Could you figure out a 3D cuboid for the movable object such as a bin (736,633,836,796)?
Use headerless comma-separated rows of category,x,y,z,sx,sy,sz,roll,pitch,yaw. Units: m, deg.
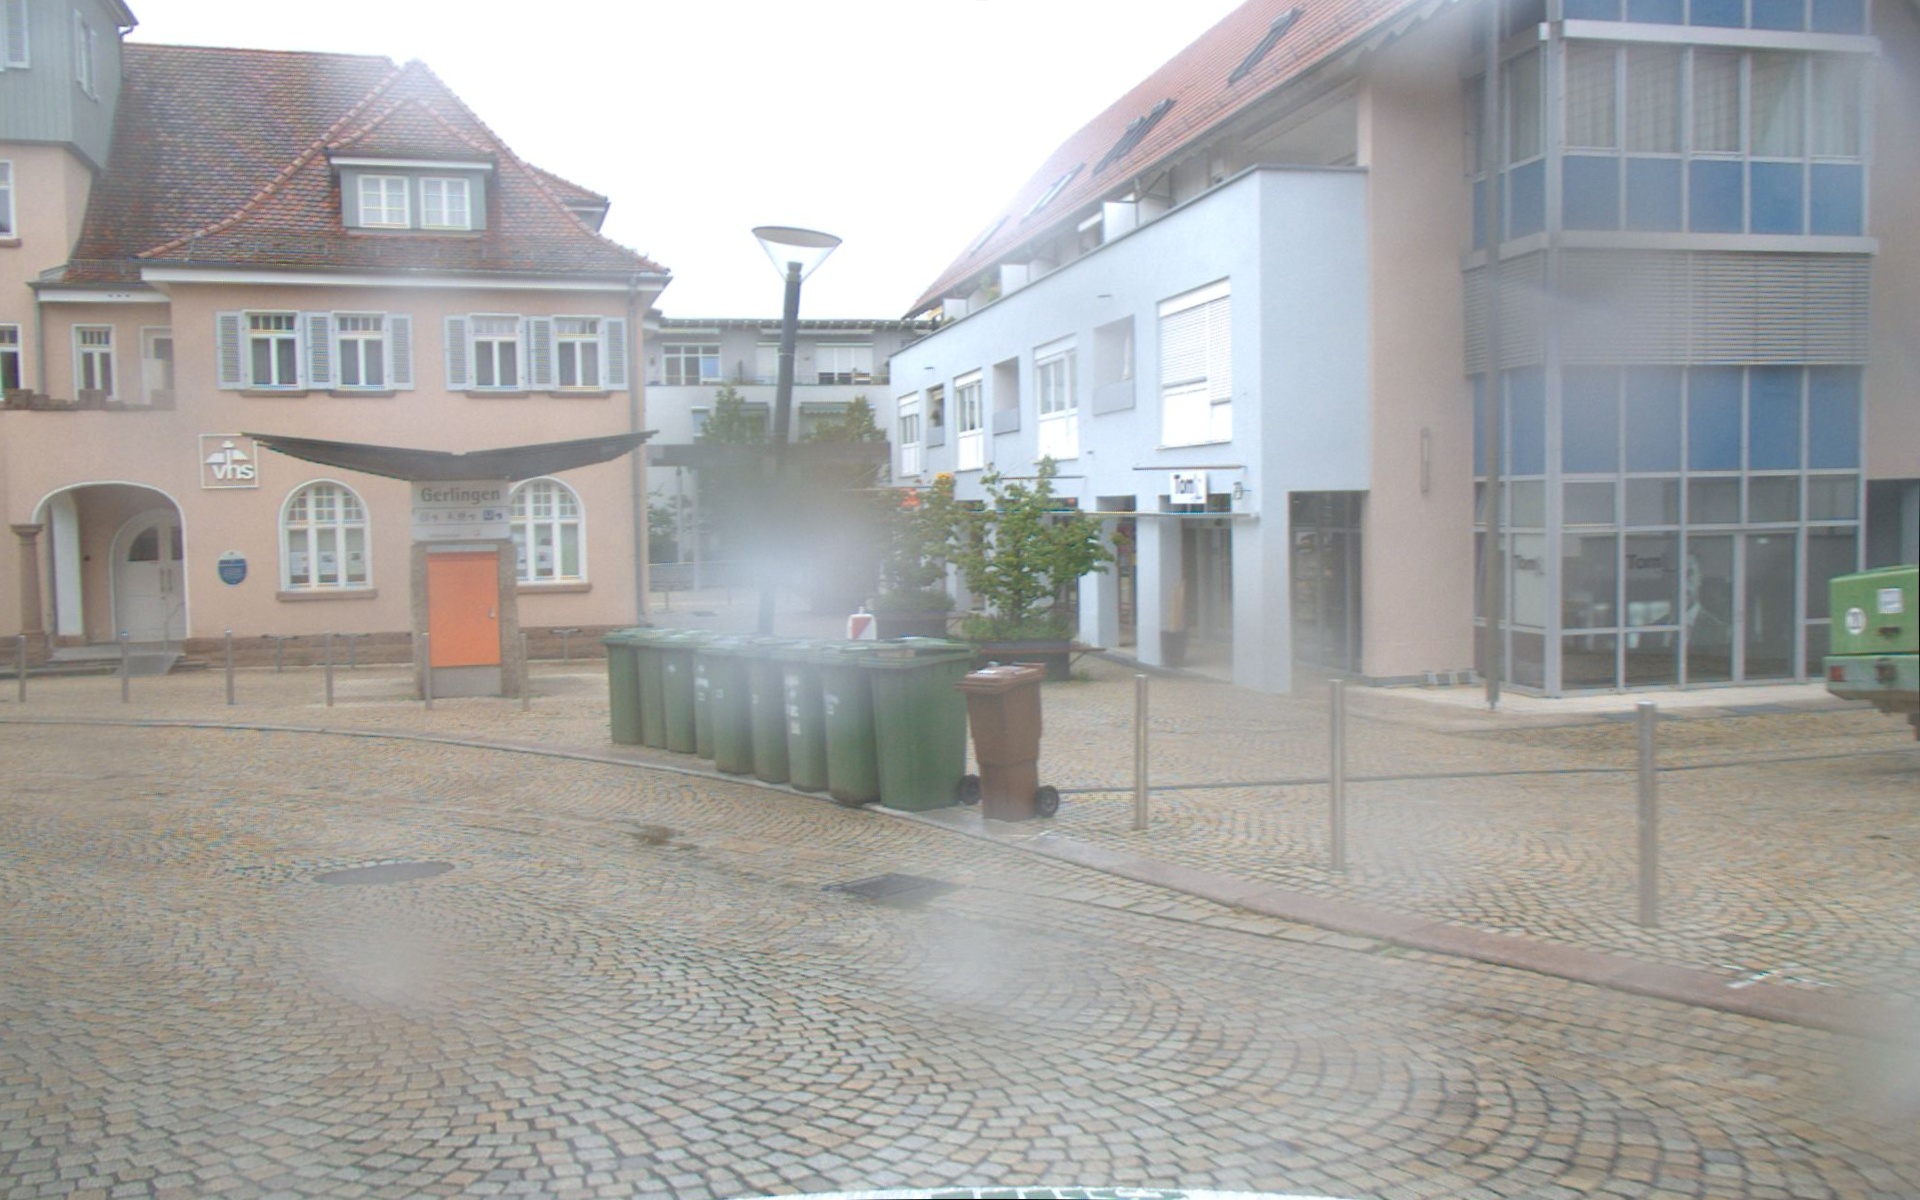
movable object such as a bin,-1.339,0.858,12.695,0.554,1.180,0.545,-2,1,-31

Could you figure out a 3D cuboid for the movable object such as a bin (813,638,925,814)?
movable object such as a bin,-0.639,0.858,11.516,0.554,1.145,0.545,-2,1,-31

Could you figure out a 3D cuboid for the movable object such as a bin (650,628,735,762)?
movable object such as a bin,-2.415,0.845,14.927,0.554,1.145,0.545,-2,1,-31

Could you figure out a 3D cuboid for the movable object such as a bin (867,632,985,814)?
movable object such as a bin,-0.231,0.804,11.073,0.554,1.145,0.545,-2,1,-31

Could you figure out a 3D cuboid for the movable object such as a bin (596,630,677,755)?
movable object such as a bin,-3.111,0.871,15.892,0.534,1.145,0.531,-3,1,-42

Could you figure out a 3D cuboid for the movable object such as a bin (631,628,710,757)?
movable object such as a bin,-2.706,0.850,15.435,0.531,1.145,0.534,-2,1,-31

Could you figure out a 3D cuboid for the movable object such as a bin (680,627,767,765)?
movable object such as a bin,-2.072,0.826,14.476,0.554,1.145,0.545,-2,1,-31

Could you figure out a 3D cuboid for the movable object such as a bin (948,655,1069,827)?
movable object such as a bin,0.306,0.868,10.439,0.556,1.008,0.491,-3,1,-40

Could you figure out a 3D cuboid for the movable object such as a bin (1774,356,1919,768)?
movable object such as a bin,8.140,-0.308,11.282,4.190,2.599,1.912,-2,0,-1

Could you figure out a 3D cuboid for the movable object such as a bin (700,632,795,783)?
movable object such as a bin,-1.711,0.850,13.292,0.554,1.145,0.545,-2,1,-31

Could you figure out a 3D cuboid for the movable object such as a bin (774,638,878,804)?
movable object such as a bin,-0.988,0.872,12.163,0.554,1.145,0.536,-2,1,-31
